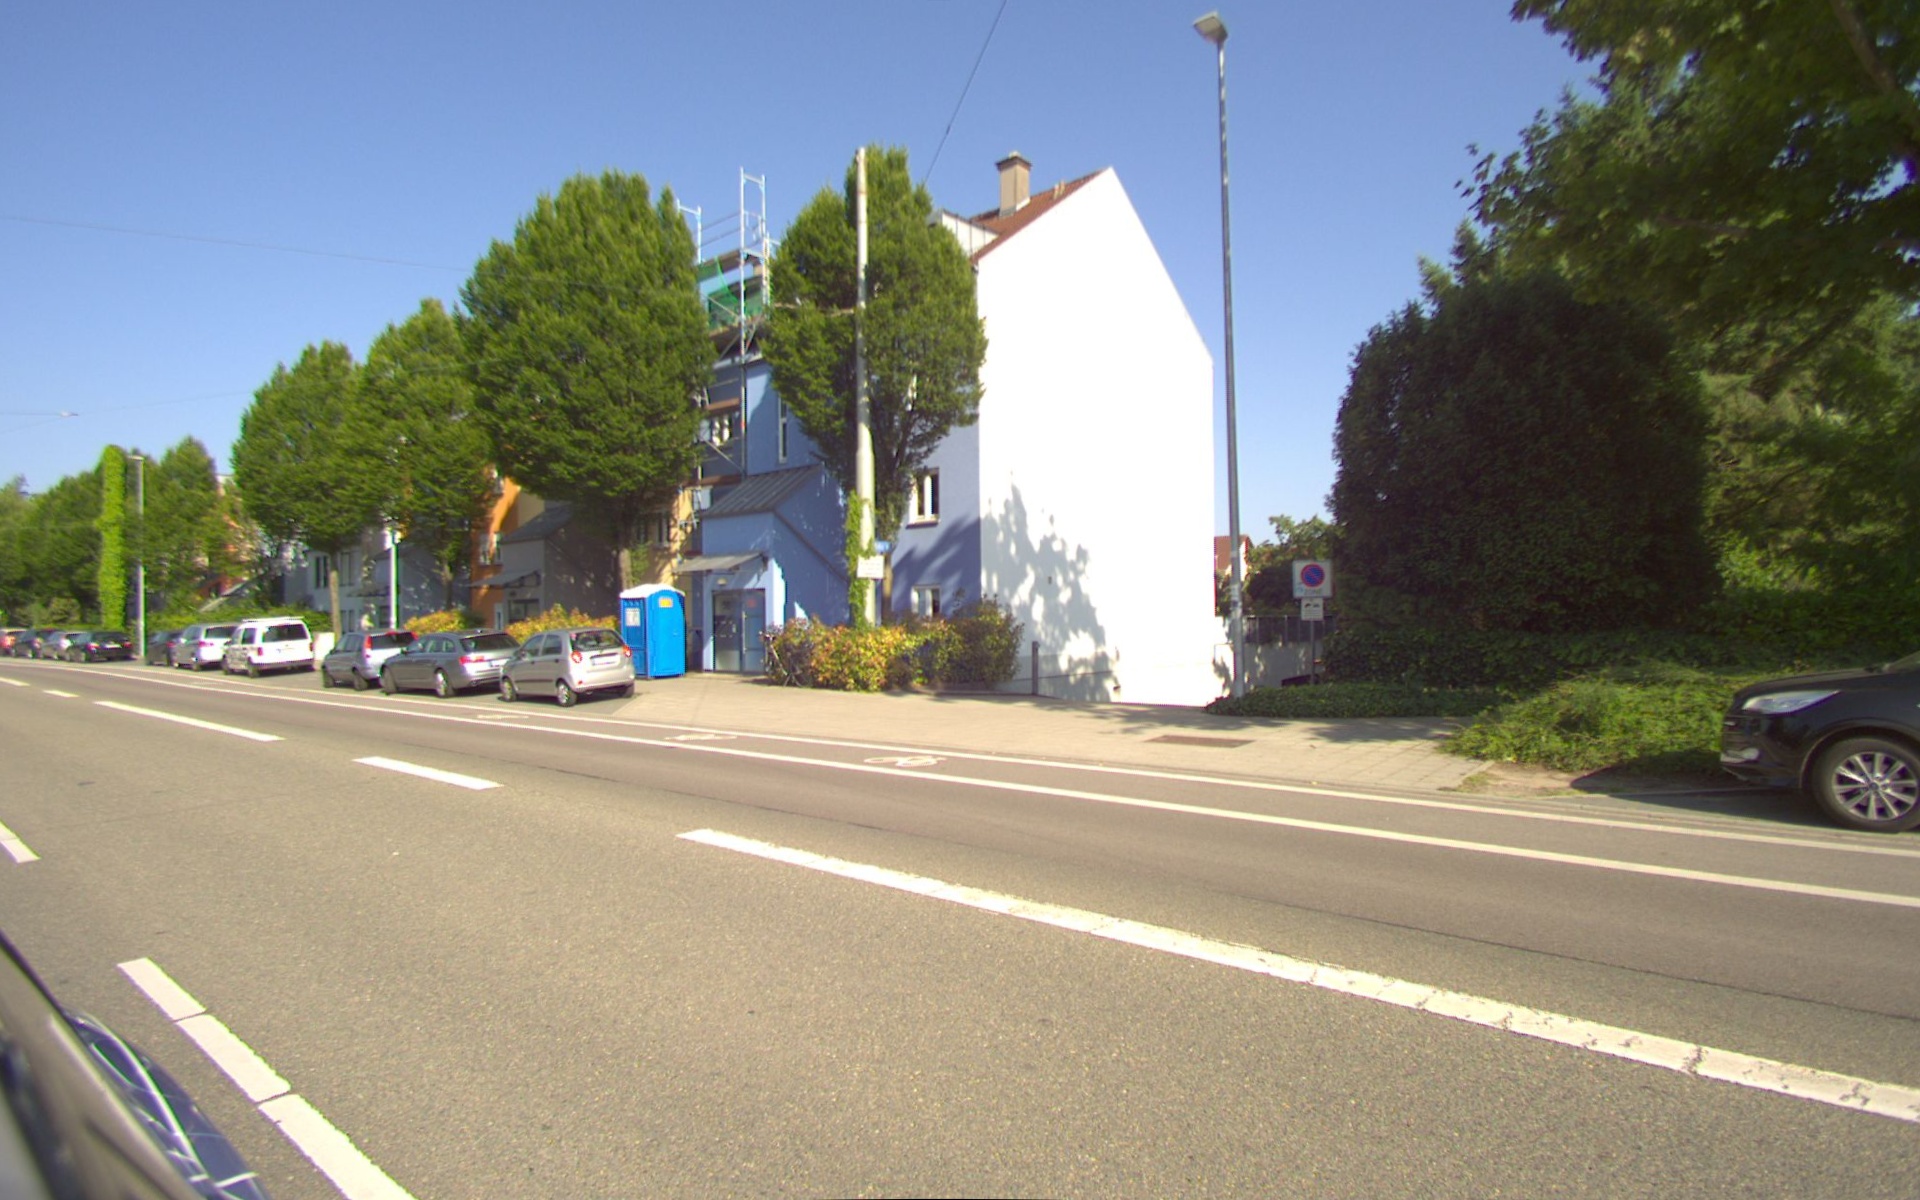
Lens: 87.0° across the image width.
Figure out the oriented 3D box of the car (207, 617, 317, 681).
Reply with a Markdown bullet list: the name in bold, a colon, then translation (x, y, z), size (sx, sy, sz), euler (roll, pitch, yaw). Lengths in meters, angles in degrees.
- **car**: translation (-23.617, 1.610, 34.167), size (4.575, 1.859, 1.746), euler (-2, 3, 39)

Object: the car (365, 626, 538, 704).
- **car**: translation (-12.142, 1.480, 24.039), size (4.749, 1.522, 1.733), euler (-2, 3, 38)

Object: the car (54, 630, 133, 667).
- **car**: translation (-41.519, 2.302, 48.482), size (4.901, 1.556, 1.849), euler (-2, 1, 37)

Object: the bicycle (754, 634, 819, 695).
- **bicycle**: translation (-3.608, 1.308, 20.930), size (0.438, 1.163, 1.786), euler (0, -1, -42)

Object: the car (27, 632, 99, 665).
- **car**: translation (-46.176, 2.457, 52.057), size (4.834, 1.482, 1.697), euler (-1, 1, 35)

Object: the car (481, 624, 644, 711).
- **car**: translation (-8.244, 1.326, 20.889), size (3.506, 1.505, 1.585), euler (-2, 3, 40)

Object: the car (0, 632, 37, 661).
- **car**: translation (-55.272, 2.668, 58.644), size (4.151, 1.586, 1.748), euler (-1, -1, 34)

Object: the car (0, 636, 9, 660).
- **car**: translation (-59.689, 2.918, 61.610), size (4.700, 1.435, 1.639), euler (-2, -2, 34)

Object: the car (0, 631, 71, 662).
- **car**: translation (-50.517, 2.502, 55.196), size (4.420, 1.585, 1.750), euler (-1, 0, 31)

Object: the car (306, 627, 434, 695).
- **car**: translation (-16.042, 1.598, 27.450), size (3.979, 1.550, 1.745), euler (-2, 3, 41)

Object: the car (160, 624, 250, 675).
- **car**: translation (-28.450, 1.819, 38.079), size (4.821, 1.713, 1.651), euler (-2, 1, 41)

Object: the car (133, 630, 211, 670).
- **car**: translation (-32.468, 2.022, 41.662), size (4.053, 1.477, 1.600), euler (-2, 0, 39)

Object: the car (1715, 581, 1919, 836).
- **car**: translation (7.835, 0.704, 6.682), size (4.420, 1.707, 1.694), euler (-2, -1, 41)
